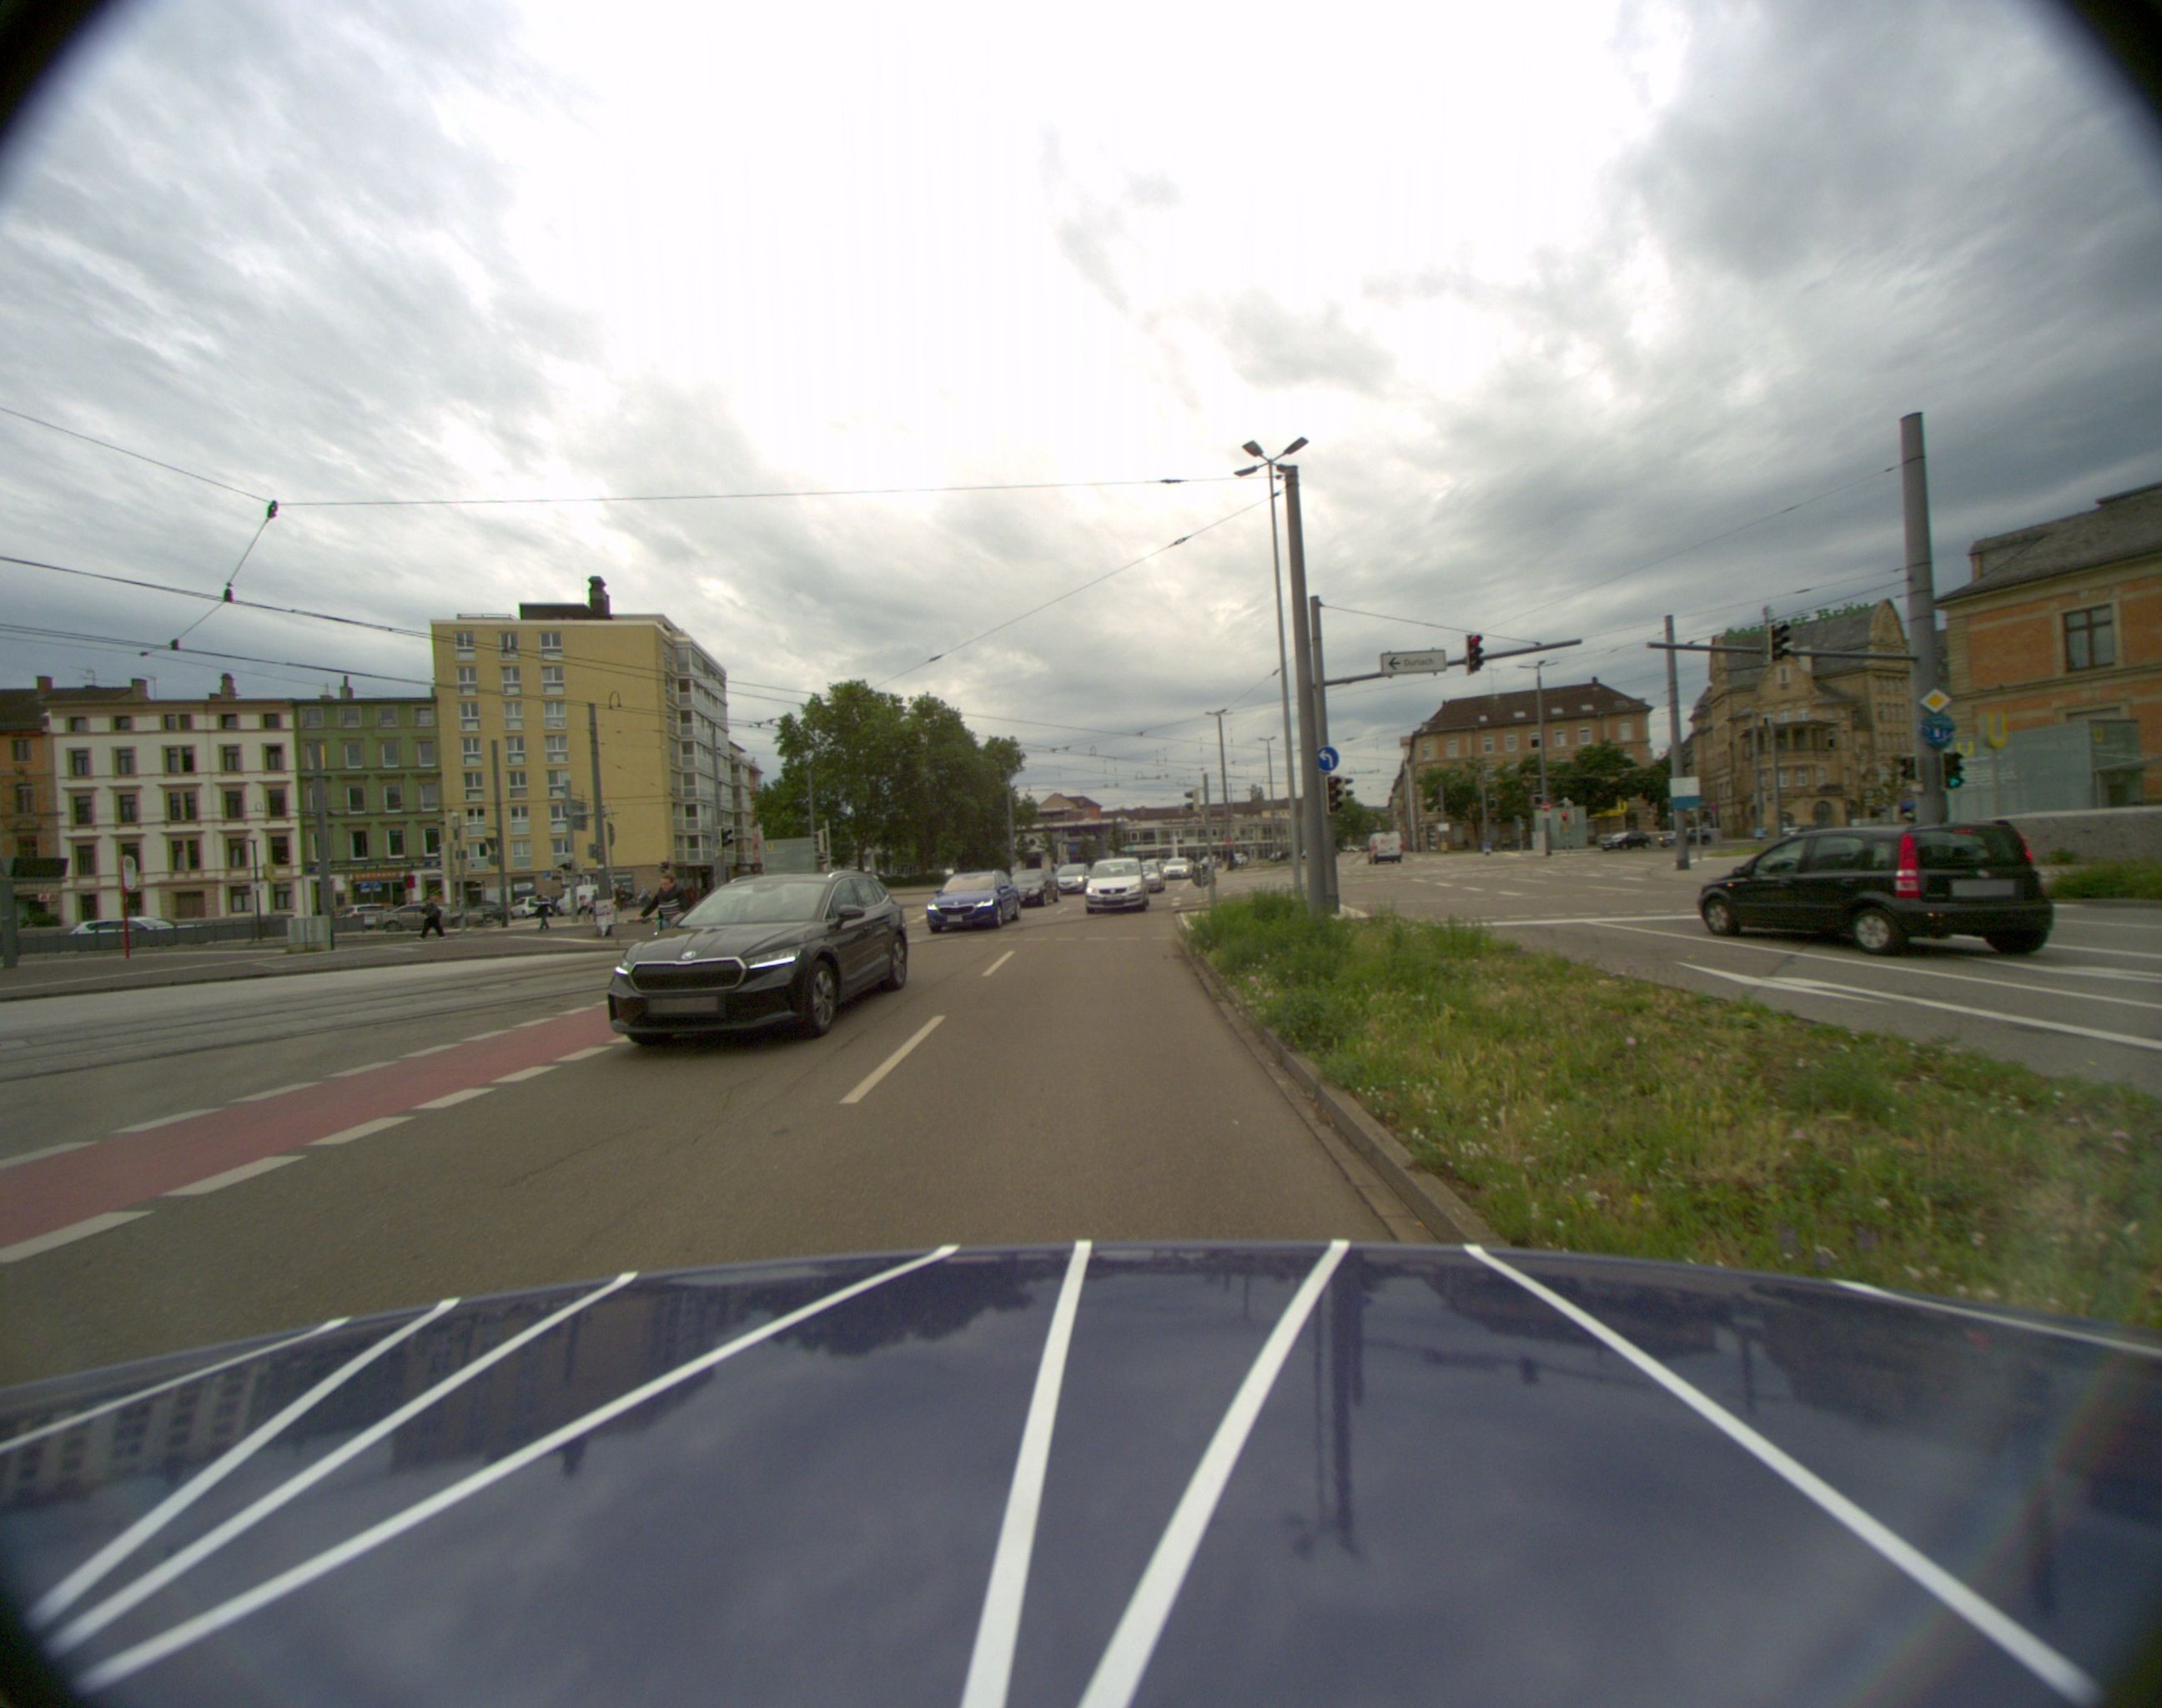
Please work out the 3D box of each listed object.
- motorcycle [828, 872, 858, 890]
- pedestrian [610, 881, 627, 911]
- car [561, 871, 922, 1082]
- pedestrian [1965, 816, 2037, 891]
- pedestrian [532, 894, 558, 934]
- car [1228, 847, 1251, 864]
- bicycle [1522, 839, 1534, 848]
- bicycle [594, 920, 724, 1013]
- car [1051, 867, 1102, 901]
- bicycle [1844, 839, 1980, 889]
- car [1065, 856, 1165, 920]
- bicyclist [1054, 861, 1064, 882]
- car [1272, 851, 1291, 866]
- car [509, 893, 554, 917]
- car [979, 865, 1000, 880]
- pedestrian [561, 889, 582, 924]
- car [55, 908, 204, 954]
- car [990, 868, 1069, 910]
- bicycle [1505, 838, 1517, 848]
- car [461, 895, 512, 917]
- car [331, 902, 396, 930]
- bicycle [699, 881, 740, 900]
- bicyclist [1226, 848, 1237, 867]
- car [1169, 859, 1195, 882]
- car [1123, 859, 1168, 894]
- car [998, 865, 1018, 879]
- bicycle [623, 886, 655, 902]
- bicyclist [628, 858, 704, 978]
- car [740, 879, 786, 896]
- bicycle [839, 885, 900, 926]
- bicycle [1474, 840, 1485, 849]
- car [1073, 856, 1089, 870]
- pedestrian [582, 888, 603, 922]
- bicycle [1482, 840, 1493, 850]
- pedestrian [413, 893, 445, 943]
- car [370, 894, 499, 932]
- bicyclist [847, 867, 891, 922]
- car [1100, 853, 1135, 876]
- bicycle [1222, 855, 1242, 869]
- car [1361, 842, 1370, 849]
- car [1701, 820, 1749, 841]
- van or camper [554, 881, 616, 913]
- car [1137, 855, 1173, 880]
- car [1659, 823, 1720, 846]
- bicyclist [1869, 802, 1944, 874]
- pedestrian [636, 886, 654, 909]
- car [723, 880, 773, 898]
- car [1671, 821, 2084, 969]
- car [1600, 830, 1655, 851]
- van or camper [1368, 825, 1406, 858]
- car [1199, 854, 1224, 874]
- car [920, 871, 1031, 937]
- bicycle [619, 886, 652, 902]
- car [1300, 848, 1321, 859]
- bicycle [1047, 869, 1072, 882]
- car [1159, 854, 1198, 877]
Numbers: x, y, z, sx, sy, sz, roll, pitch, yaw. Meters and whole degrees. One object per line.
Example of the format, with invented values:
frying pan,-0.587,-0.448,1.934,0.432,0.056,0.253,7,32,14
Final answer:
motorcycle,-19.586,2.230,62.612,2.294,1.358,1.045,-2,0,-19
pedestrian,-27.197,2.458,44.670,0.789,1.746,1.047,-2,0,-32
car,-3.346,1.088,8.673,1.908,1.648,4.515,-3,-1,2
pedestrian,19.755,-0.007,16.330,0.579,1.542,0.749,-2,0,7
pedestrian,-23.058,2.555,32.699,0.786,1.633,0.902,-3,0,-33
car,20.003,0.157,95.914,1.996,2.001,4.006,-3,0,23
bicycle,49.649,-1.167,84.468,0.753,1.024,2.400,-3,-1,22
bicycle,-6.117,1.591,11.168,0.626,1.048,2.126,-3,0,2
car,-0.165,1.464,38.536,1.708,1.474,3.937,-4,-1,11
bicycle,20.218,0.252,18.532,2.117,1.022,0.796,-5,-1,12
car,1.170,0.941,23.060,1.861,1.609,5.068,-4,-1,15
bicyclist,-1.839,1.421,63.121,0.734,1.741,0.585,0,1,-5
car,29.492,0.688,111.644,1.996,2.001,4.006,-3,0,23
car,-37.263,3.445,51.487,3.728,1.409,1.739,-3,0,43
car,-13.653,2.798,113.818,1.954,1.589,4.228,-3,5,10
pedestrian,-24.861,2.546,37.072,0.770,1.602,0.949,-3,0,-33
car,-44.348,3.547,35.501,3.999,1.739,1.999,-3,0,-8
car,-1.867,1.285,29.249,1.768,1.362,4.427,-2,-1,13
bicycle,48.152,-1.247,85.111,0.753,1.024,2.400,-3,-1,22
car,-39.073,3.426,49.926,3.728,1.296,1.684,-3,0,36
car,-45.595,3.933,48.267,3.729,1.578,1.739,-3,0,26
bicycle,-29.301,2.918,61.589,2.784,1.369,0.903,-3,0,-8
bicyclist,12.929,0.322,65.128,0.655,1.629,0.517,-3,0,-17
car,9.683,1.524,72.675,1.997,2.001,4.004,-3,-1,13
car,3.002,0.985,34.786,1.808,1.398,3.985,-3,0,8
car,-10.913,2.709,113.672,1.954,1.449,4.227,-3,7,10
bicycle,-34.904,3.139,60.050,2.041,1.162,0.669,-2,-1,-13
bicyclist,-6.131,0.920,11.250,0.617,1.680,0.806,-3,-1,-1
car,-31.074,3.275,74.383,4.003,1.433,1.997,-2,0,-19
bicycle,-6.481,1.571,23.430,0.762,1.072,2.019,-5,-1,18
bicycle,45.354,-1.098,86.574,0.835,1.024,2.400,-3,-1,22
car,0.024,1.247,111.566,1.955,1.634,4.673,-3,4,4
pedestrian,-24.306,2.531,37.785,0.786,1.592,0.895,-3,0,-33
bicycle,46.118,-1.014,86.264,0.753,1.024,2.400,-3,-1,22
pedestrian,-26.532,2.586,30.935,0.786,1.901,0.902,-3,0,-33
car,-32.020,2.909,37.746,4.445,1.477,1.999,-3,0,-8
bicyclist,-6.521,1.240,23.386,0.790,1.608,0.934,-5,-1,17
car,2.604,0.698,53.310,1.997,1.499,4.003,-3,0,9
bicycle,12.949,0.709,65.150,1.615,1.063,0.527,-3,0,-17
car,66.414,-2.019,177.259,1.885,1.461,4.470,-3,-1,20
car,61.762,-2.265,72.848,4.006,1.749,1.830,-3,0,-22
van or camper,-33.987,2.967,52.014,5.452,1.967,2.176,-4,0,42
car,6.309,1.130,64.565,1.996,2.001,4.006,-3,-1,19
car,54.202,-1.738,67.674,4.929,1.704,2.159,-3,0,-24
bicyclist,20.120,-0.384,18.536,0.814,1.646,0.794,-5,-1,12
pedestrian,-33.661,3.351,58.627,0.906,1.727,0.812,-2,0,-9
car,-31.264,3.283,71.389,4.002,1.455,1.997,-3,0,-17
car,9.761,0.447,9.800,1.622,1.506,3.666,-2,-1,4
car,47.399,-1.163,65.918,4.250,1.601,1.996,-3,0,-25
van or camper,25.243,-0.964,62.852,2.282,2.512,5.580,-2,0,15
car,14.603,1.108,85.050,1.996,2.001,4.006,-3,-1,19
car,-2.660,1.241,20.367,1.769,1.427,4.759,-3,-1,6
bicycle,-34.785,3.122,59.364,2.041,1.162,0.669,-2,-1,-13
car,37.217,-0.092,123.140,2.369,1.744,5.138,-3,-1,25
bicycle,-1.799,1.792,63.131,1.992,0.992,0.579,-1,0,-6
car,6.860,0.805,53.298,1.970,1.447,4.198,-3,-1,17
